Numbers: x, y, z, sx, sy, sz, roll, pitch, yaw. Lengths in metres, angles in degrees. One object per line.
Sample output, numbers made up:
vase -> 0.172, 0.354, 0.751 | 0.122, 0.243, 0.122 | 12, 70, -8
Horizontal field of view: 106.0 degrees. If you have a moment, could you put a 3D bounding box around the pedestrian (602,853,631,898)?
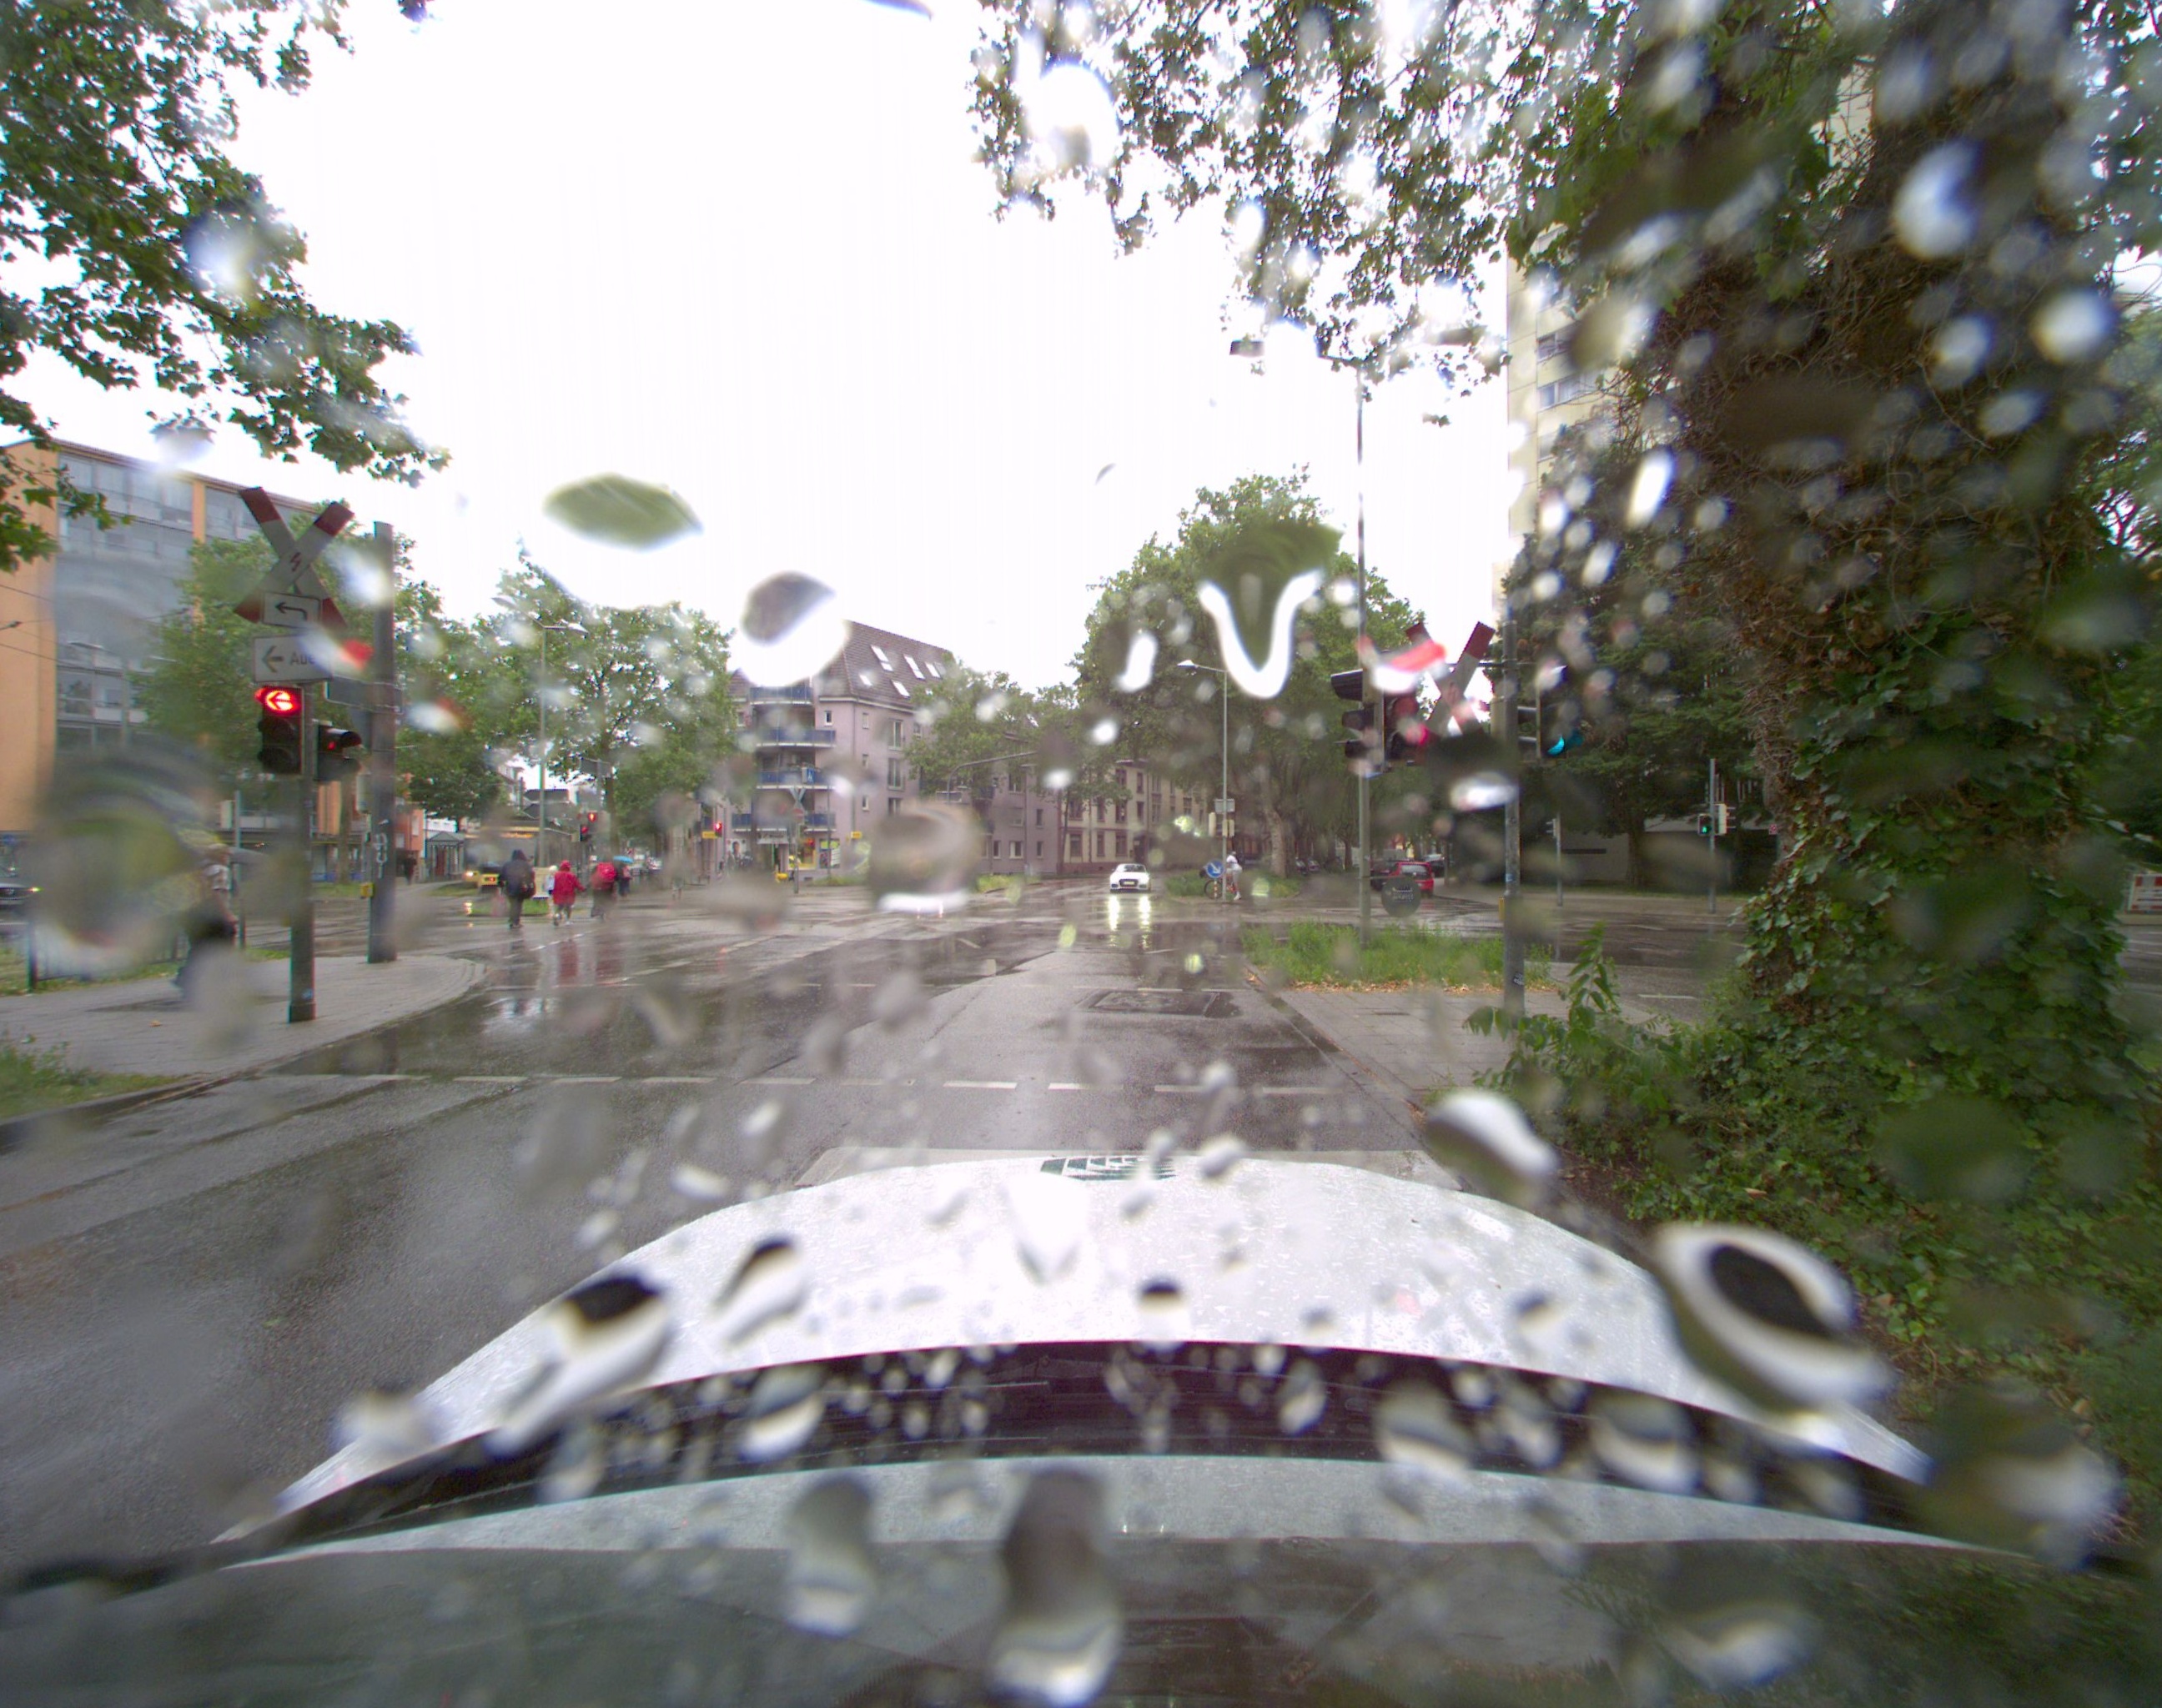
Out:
pedestrian -> -18.571, 0.844, 32.559 | 0.962, 1.766, 0.944 | 0, -1, -28

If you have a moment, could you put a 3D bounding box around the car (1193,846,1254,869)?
car -> 9.446, 0.261, 53.801 | 3.838, 1.486, 1.723 | -1, -1, 14

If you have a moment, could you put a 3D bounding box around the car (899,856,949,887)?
car -> -8.010, 0.858, 41.839 | 1.745, 1.512, 3.839 | 0, 0, 1

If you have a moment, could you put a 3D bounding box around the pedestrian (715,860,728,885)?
pedestrian -> -22.814, 1.169, 51.658 | 0.677, 1.600, 0.959 | 0, -1, -29

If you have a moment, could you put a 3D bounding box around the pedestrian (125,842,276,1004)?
pedestrian -> -10.049, 0.741, 9.339 | 0.867, 1.755, 0.826 | 0, 0, -18

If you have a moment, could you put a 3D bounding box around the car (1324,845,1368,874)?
car -> 28.319, 0.589, 87.214 | 2.040, 2.948, 4.742 | 0, -1, -18

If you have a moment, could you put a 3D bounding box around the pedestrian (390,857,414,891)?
pedestrian -> -36.166, 1.048, 43.401 | 0.965, 1.766, 0.941 | 0, -1, -39

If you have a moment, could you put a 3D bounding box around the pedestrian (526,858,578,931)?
pedestrian -> -11.288, 0.849, 17.389 | 0.681, 1.520, 0.658 | -1, 0, -6

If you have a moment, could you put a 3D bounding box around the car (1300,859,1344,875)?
car -> 23.134, 1.256, 78.258 | 3.958, 1.547, 2.008 | -1, -1, 14

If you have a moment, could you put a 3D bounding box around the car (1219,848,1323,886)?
car -> 7.622, 0.522, 32.692 | 3.958, 1.486, 2.008 | -1, -1, 14

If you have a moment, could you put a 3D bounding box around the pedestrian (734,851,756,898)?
pedestrian -> -13.436, 0.790, 32.580 | 0.791, 1.855, 0.676 | 0, 0, -22

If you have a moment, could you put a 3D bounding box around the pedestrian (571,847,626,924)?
pedestrian -> -10.595, 0.670, 17.910 | 0.728, 1.624, 0.816 | -1, 1, -5

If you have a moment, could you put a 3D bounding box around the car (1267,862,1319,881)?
car -> 16.931, 1.393, 65.199 | 3.958, 1.486, 2.008 | -1, -1, 14

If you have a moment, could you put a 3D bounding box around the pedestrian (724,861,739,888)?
pedestrian -> -20.285, 1.201, 47.263 | 0.752, 1.533, 0.786 | 0, -1, -20

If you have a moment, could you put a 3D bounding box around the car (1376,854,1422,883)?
car -> 15.891, 0.699, 40.868 | 1.770, 1.348, 3.945 | 0, 1, 16

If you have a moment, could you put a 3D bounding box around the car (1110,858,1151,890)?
car -> 2.407, 0.939, 39.191 | 1.876, 1.436, 4.004 | 0, 0, 4

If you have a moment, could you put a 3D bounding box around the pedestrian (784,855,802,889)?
pedestrian -> -18.393, 1.124, 51.979 | 0.907, 2.151, 0.885 | 0, -1, -6

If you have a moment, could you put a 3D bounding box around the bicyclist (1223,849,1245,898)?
bicyclist -> 5.687, 0.717, 30.364 | 0.790, 1.786, 0.699 | -1, -1, 9

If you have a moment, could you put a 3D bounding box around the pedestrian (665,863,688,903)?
pedestrian -> -14.527, 1.029, 29.249 | 0.653, 1.396, 0.774 | 0, 0, -33

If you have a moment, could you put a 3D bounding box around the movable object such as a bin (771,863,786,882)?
movable object such as a bin -> -19.270, 1.164, 51.868 | 0.749, 1.236, 0.666 | 0, -1, -6

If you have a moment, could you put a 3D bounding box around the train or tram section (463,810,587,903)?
train or tram section -> -25.745, 0.113, 38.561 | 2.875, 3.545, 15.238 | 0, 0, -27

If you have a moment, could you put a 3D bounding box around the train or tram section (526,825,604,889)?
train or tram section -> -32.275, 0.184, 51.450 | 2.875, 3.545, 13.596 | 0, 0, -27

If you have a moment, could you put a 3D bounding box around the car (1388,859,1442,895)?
car -> 14.823, 0.983, 36.332 | 1.778, 1.498, 4.017 | 0, 0, 16

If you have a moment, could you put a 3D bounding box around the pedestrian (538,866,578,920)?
pedestrian -> -13.481, 0.992, 20.999 | 0.657, 1.349, 0.706 | 0, 0, -12

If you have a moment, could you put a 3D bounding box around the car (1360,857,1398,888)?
car -> 17.381, 1.067, 47.630 | 1.769, 1.727, 4.017 | -1, -1, 16

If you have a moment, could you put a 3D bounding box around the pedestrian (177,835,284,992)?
pedestrian -> -10.719, 0.703, 10.301 | 0.876, 1.864, 0.881 | 0, 0, -43

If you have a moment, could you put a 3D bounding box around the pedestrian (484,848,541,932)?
pedestrian -> -12.213, 0.752, 17.491 | 0.844, 1.698, 0.680 | -4, 3, -42

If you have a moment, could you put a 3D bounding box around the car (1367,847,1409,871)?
car -> 38.986, 0.641, 103.566 | 2.006, 2.948, 4.726 | 0, -1, -29

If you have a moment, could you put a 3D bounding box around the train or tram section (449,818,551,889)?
train or tram section -> -36.144, 0.044, 51.418 | 2.897, 3.768, 17.089 | 0, -1, -28

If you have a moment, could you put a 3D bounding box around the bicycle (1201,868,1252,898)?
bicycle -> 5.428, 1.072, 30.400 | 1.862, 1.081, 0.658 | -1, -1, 9

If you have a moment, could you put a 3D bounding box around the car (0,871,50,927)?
car -> -32.293, 1.278, 23.440 | 3.994, 1.530, 1.615 | 0, 1, 12
